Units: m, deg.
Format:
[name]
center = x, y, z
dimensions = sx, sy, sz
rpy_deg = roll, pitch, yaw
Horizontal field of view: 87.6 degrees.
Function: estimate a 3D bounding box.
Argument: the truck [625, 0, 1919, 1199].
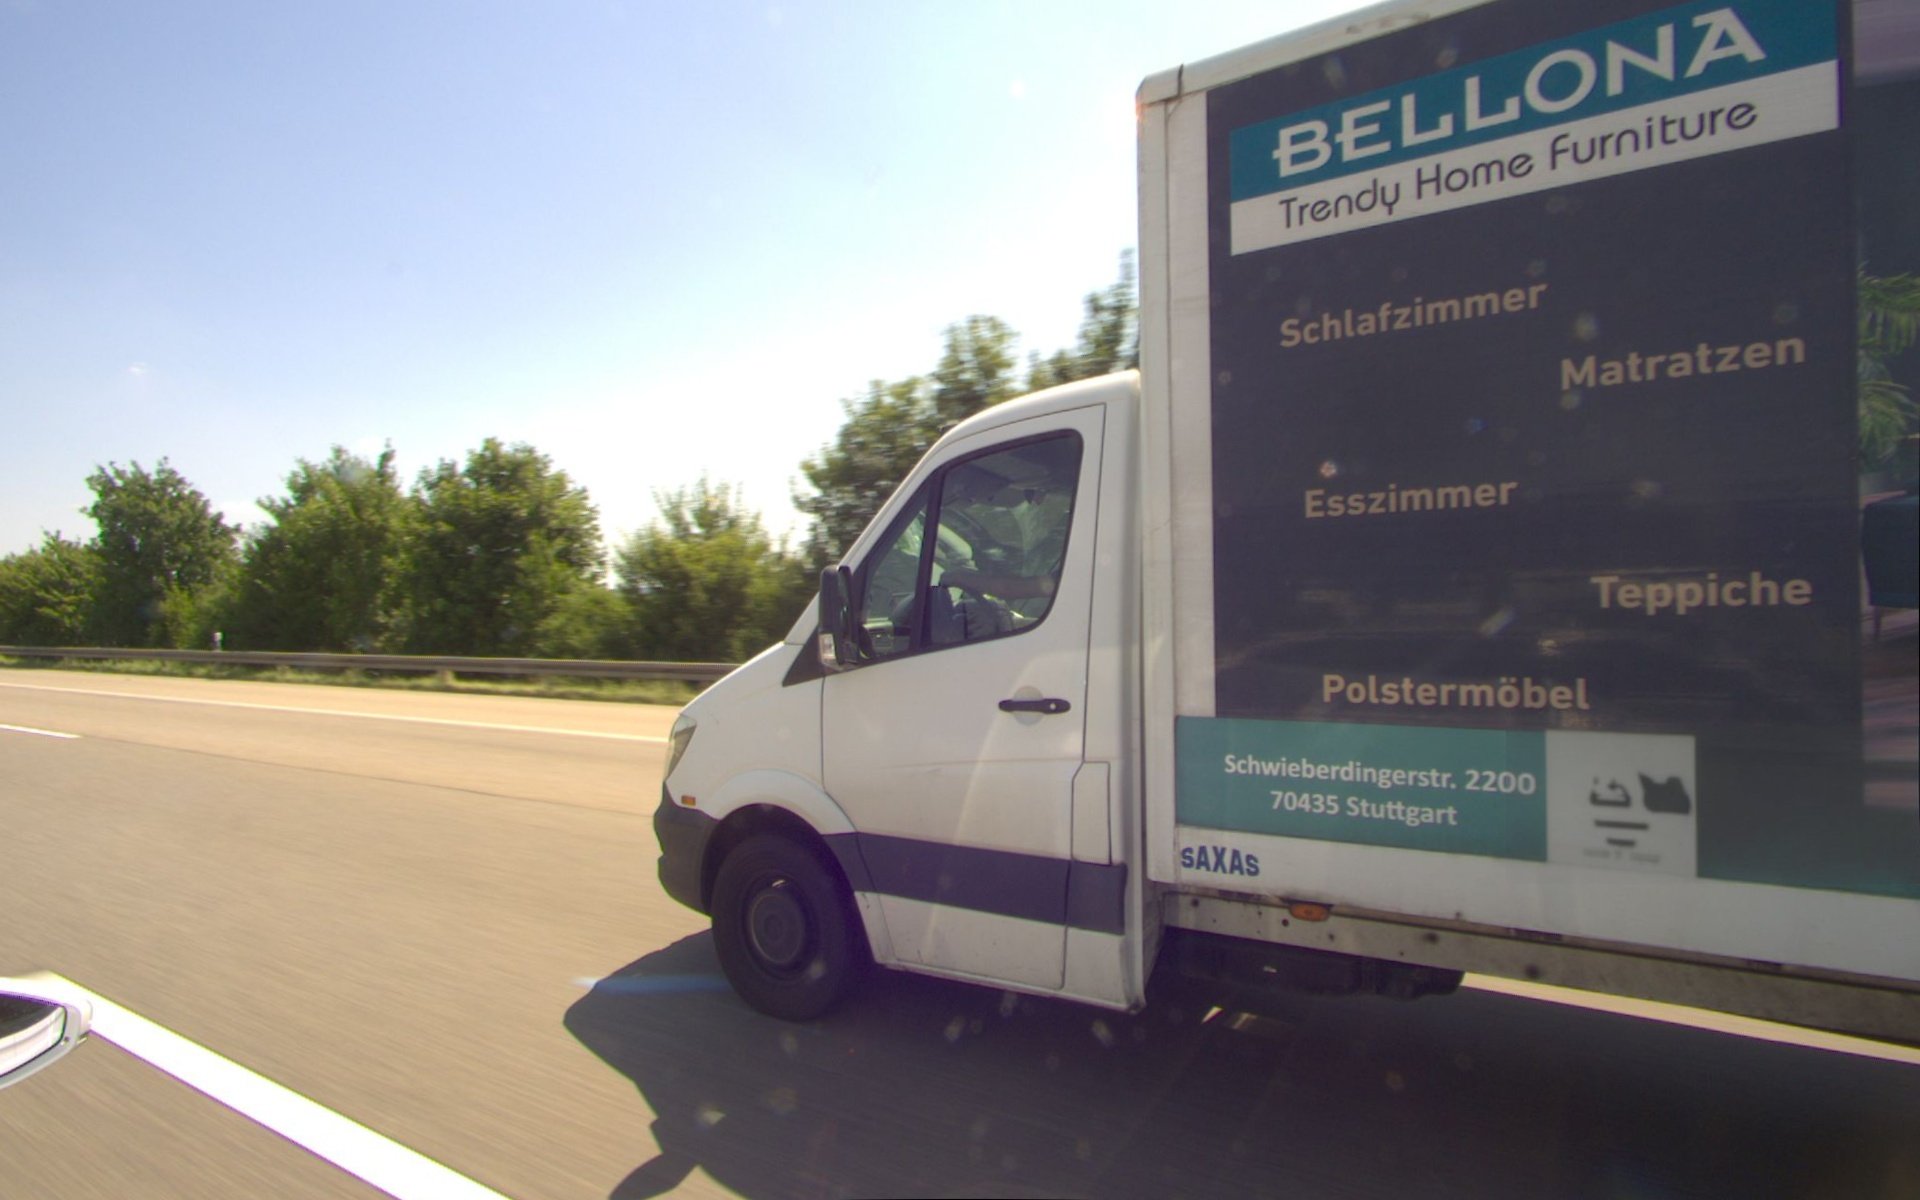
[truck]
center = 2.126, -0.047, 3.082
dimensions = 6.654, 3.107, 2.317
rpy_deg = -1, -1, 32
